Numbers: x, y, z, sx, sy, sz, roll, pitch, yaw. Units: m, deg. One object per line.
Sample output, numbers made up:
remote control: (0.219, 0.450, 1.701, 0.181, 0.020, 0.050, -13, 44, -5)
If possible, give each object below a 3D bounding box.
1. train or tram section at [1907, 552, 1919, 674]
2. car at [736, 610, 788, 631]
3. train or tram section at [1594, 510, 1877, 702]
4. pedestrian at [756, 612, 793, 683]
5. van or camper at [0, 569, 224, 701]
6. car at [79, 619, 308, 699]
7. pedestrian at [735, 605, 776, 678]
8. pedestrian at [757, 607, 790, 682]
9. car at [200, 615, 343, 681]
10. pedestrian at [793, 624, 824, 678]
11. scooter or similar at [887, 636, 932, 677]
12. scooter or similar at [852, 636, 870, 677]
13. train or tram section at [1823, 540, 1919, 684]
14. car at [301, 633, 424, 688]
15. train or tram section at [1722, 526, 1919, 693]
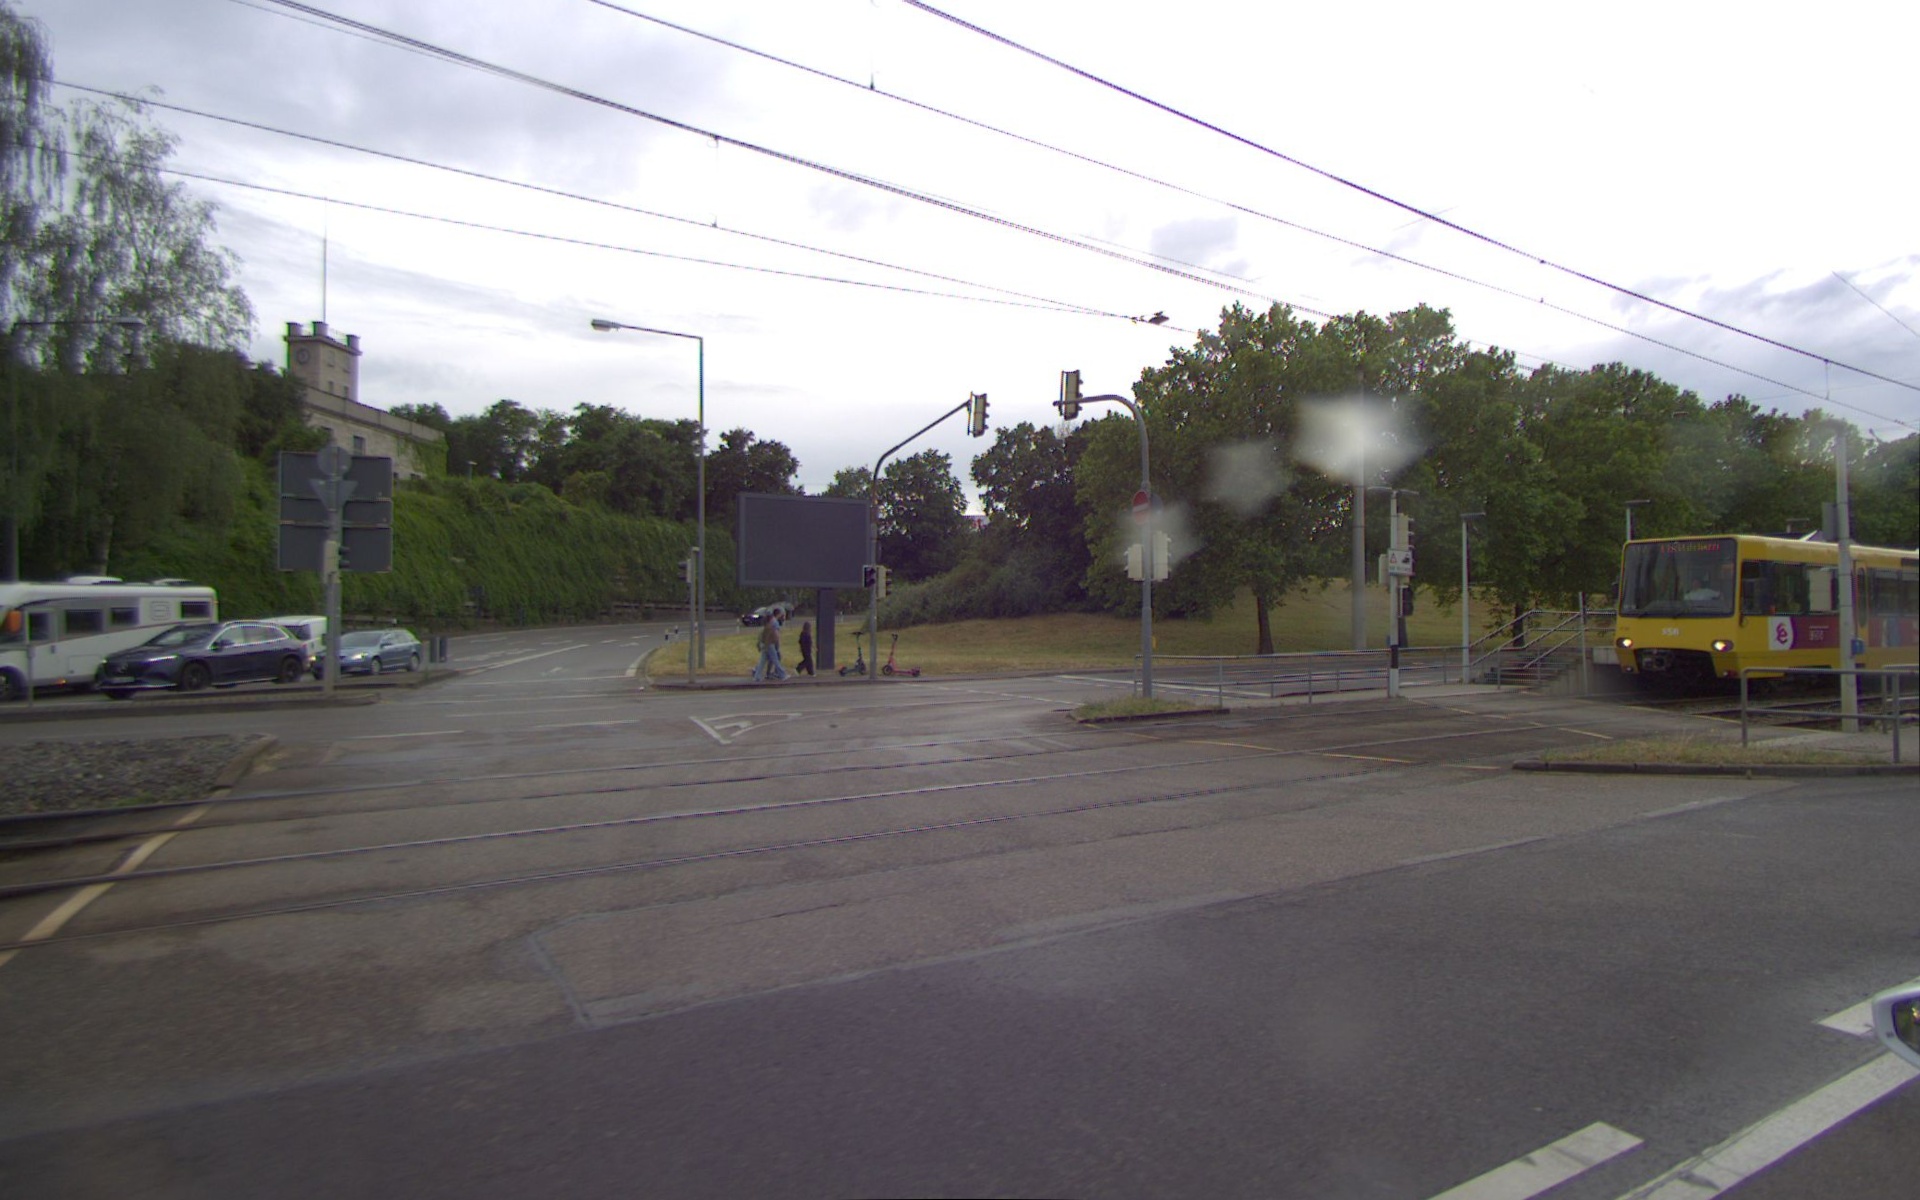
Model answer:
train or tram section: (34.857, 0.496, 33.316, 6.918, 3.985, 2.916, 1, 0, -28)
car: (-16.254, 1.694, 82.702, 1.900, 1.702, 3.987, -1, -1, 35)
train or tram section: (18.493, 0.164, 23.871, 6.923, 3.985, 2.914, 1, 0, -30)
pedestrian: (-4.871, 1.240, 26.403, 0.821, 1.811, 0.504, 1, 0, -27)
van or camper: (-22.938, 0.869, 25.781, 2.441, 3.006, 7.378, 0, -1, 3)
car: (-18.488, 1.354, 24.576, 1.960, 1.755, 4.632, 0, -1, 2)
pedestrian: (-5.838, 1.174, 28.640, 0.857, 2.040, 0.881, 1, -2, -37)
pedestrian: (-4.982, 1.180, 26.862, 0.713, 1.982, 0.493, 1, 1, -29)
car: (-22.769, 1.529, 33.453, 1.962, 2.040, 4.522, 0, -1, -6)
pedestrian: (-4.309, 1.433, 28.568, 0.713, 1.493, 0.493, 1, 0, -30)
scooter or similar: (-1.469, 1.662, 29.444, 1.254, 1.177, 0.380, -1, -1, 9)
scooter or similar: (-2.944, 1.670, 29.837, 0.282, 1.177, 0.769, -1, -1, 14)
train or tram section: (29.318, 0.383, 30.263, 6.923, 3.985, 2.914, 1, 0, -30)
car: (-18.616, 1.842, 31.520, 1.805, 1.586, 3.996, 0, -1, -6)
train or tram section: (23.929, 0.274, 27.088, 6.923, 3.985, 2.914, 1, 0, -30)
